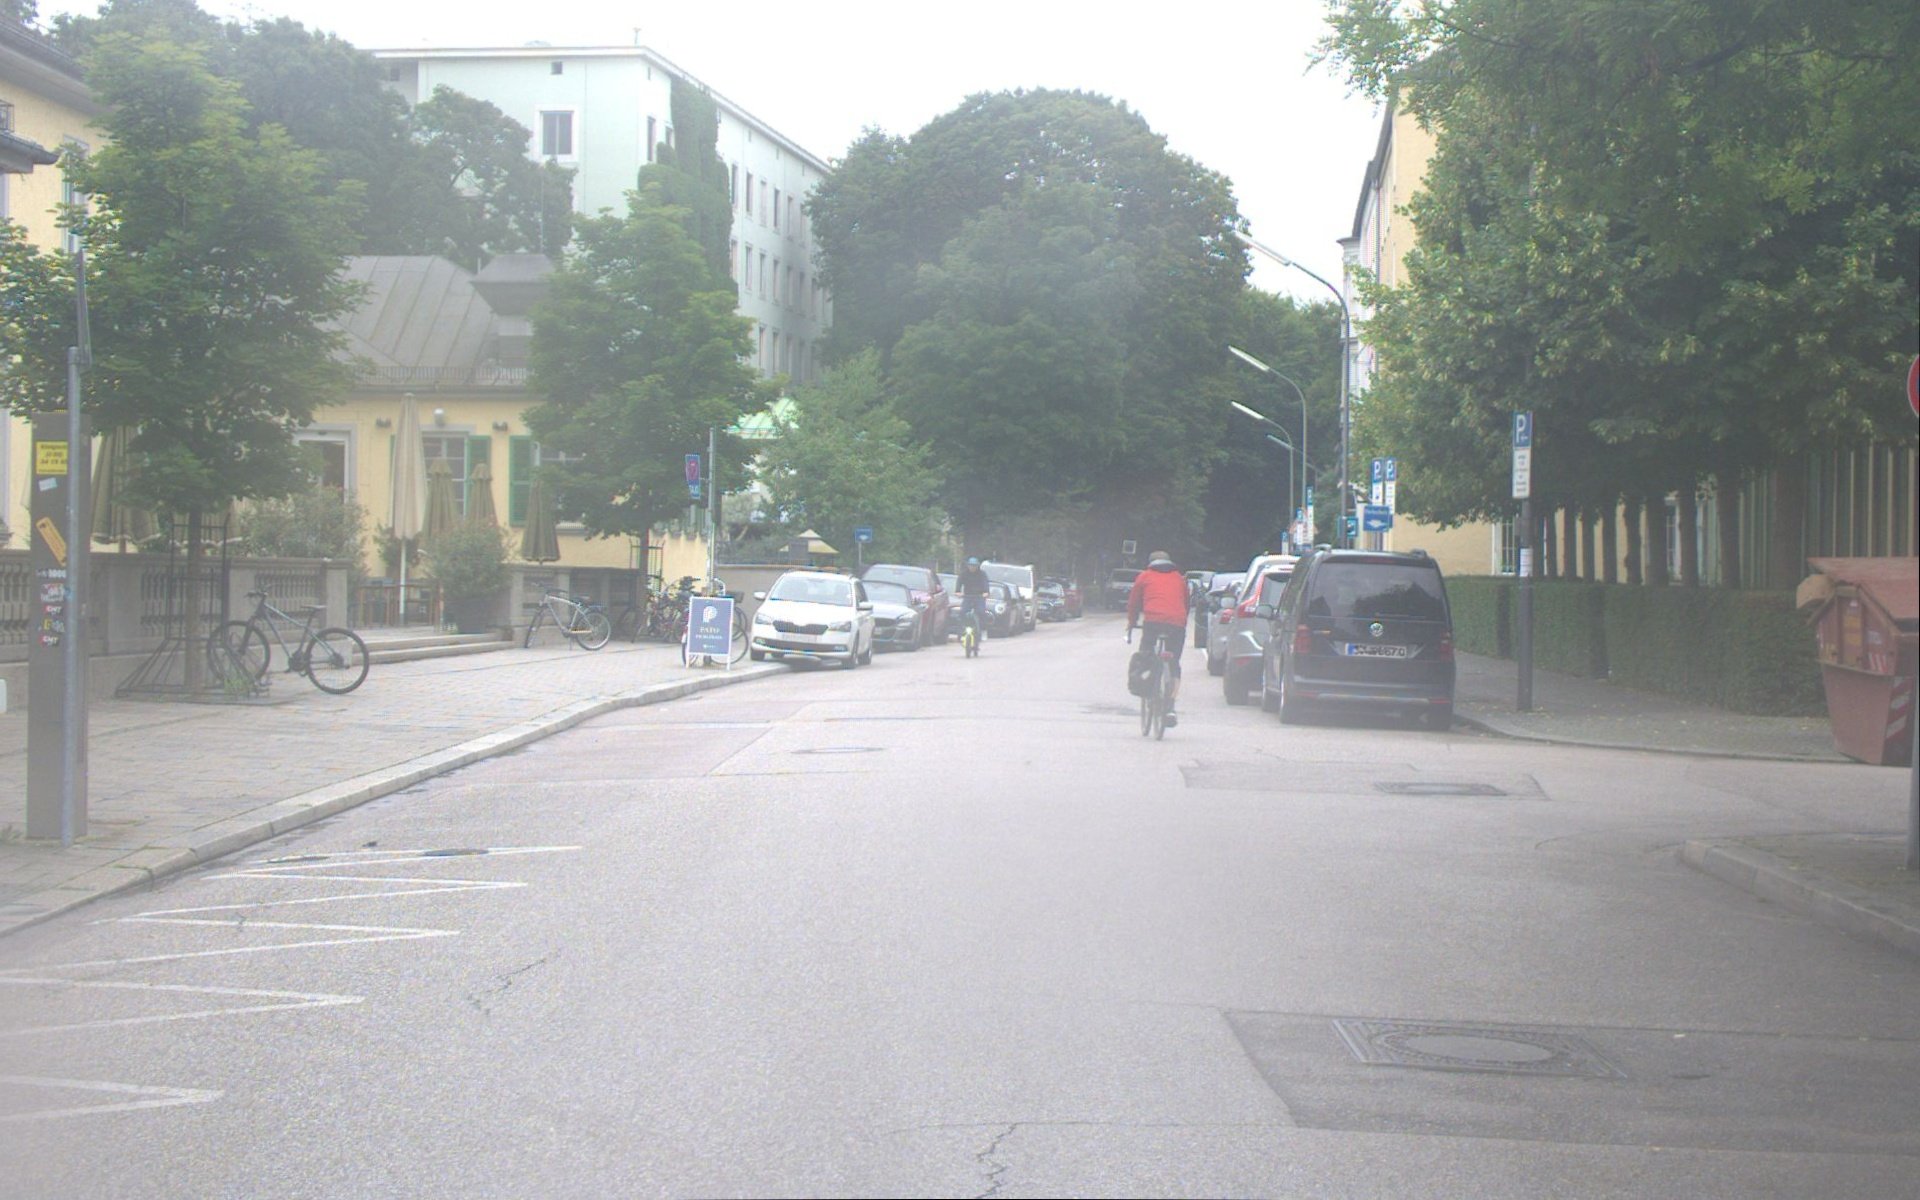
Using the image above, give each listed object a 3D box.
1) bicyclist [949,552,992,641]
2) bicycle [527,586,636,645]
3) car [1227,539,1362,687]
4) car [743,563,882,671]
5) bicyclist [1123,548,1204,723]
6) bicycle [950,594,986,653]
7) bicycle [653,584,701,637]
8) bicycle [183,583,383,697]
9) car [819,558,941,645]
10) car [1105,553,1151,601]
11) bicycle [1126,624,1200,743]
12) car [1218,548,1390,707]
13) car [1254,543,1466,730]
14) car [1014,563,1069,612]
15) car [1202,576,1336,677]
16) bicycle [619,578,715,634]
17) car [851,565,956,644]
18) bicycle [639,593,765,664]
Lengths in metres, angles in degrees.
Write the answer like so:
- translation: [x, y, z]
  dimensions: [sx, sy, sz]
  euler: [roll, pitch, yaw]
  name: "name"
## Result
- translation: [0.182, -0.067, 61.559]
  dimensions: [0.743, 1.570, 0.977]
  euler: [1, 1, 0]
  name: "bicyclist"
- translation: [-6.096, 0.251, 55.338]
  dimensions: [1.613, 0.922, 0.651]
  euler: [1, -1, -23]
  name: "bicycle"
- translation: [4.572, 0.139, 47.418]
  dimensions: [1.750, 1.936, 4.227]
  euler: [1, 1, 4]
  name: "car"
- translation: [-2.343, 0.246, 55.463]
  dimensions: [1.734, 1.576, 3.787]
  euler: [4, 1, 4]
  name: "car"
- translation: [1.784, 0.313, 30.097]
  dimensions: [0.672, 1.492, 1.094]
  euler: [1, -1, 4]
  name: "bicyclist"
- translation: [0.139, 0.412, 61.490]
  dimensions: [0.621, 1.001, 2.140]
  euler: [1, 1, 0]
  name: "bicycle"
- translation: [-5.534, 0.210, 67.259]
  dimensions: [0.622, 1.001, 1.618]
  euler: [1, -1, 7]
  name: "bicycle"
- translation: [-7.113, 0.417, 36.159]
  dimensions: [1.931, 1.095, 0.615]
  euler: [3, 1, 4]
  name: "bicycle"
- translation: [-1.541, 0.009, 68.037]
  dimensions: [1.994, 1.643, 4.655]
  euler: [1, 1, 3]
  name: "car"
- translation: [7.798, -1.077, 159.822]
  dimensions: [1.994, 2.091, 4.000]
  euler: [4, 1, 3]
  name: "car"
- translation: [1.780, 0.724, 30.162]
  dimensions: [0.621, 1.001, 2.140]
  euler: [0, -1, 3]
  name: "bicycle"
- translation: [4.063, 0.283, 41.223]
  dimensions: [1.863, 1.788, 4.509]
  euler: [1, 1, 3]
  name: "car"
- translation: [4.170, 0.338, 36.395]
  dimensions: [1.760, 1.817, 4.139]
  euler: [2, 1, 1]
  name: "car"
- translation: [2.920, -0.465, 122.227]
  dimensions: [1.810, 1.677, 4.000]
  euler: [1, 1, 3]
  name: "car"
- translation: [4.716, 0.372, 52.952]
  dimensions: [1.863, 1.435, 4.255]
  euler: [2, 1, 3]
  name: "car"
- translation: [-5.284, 0.113, 61.979]
  dimensions: [1.613, 1.001, 0.623]
  euler: [1, -1, -31]
  name: "bicycle"
- translation: [-1.176, 0.098, 73.284]
  dimensions: [1.994, 1.597, 4.000]
  euler: [1, 0, 2]
  name: "car"
- translation: [-3.814, 0.428, 50.983]
  dimensions: [0.623, 1.001, 2.136]
  euler: [4, 1, 34]
  name: "bicycle"
